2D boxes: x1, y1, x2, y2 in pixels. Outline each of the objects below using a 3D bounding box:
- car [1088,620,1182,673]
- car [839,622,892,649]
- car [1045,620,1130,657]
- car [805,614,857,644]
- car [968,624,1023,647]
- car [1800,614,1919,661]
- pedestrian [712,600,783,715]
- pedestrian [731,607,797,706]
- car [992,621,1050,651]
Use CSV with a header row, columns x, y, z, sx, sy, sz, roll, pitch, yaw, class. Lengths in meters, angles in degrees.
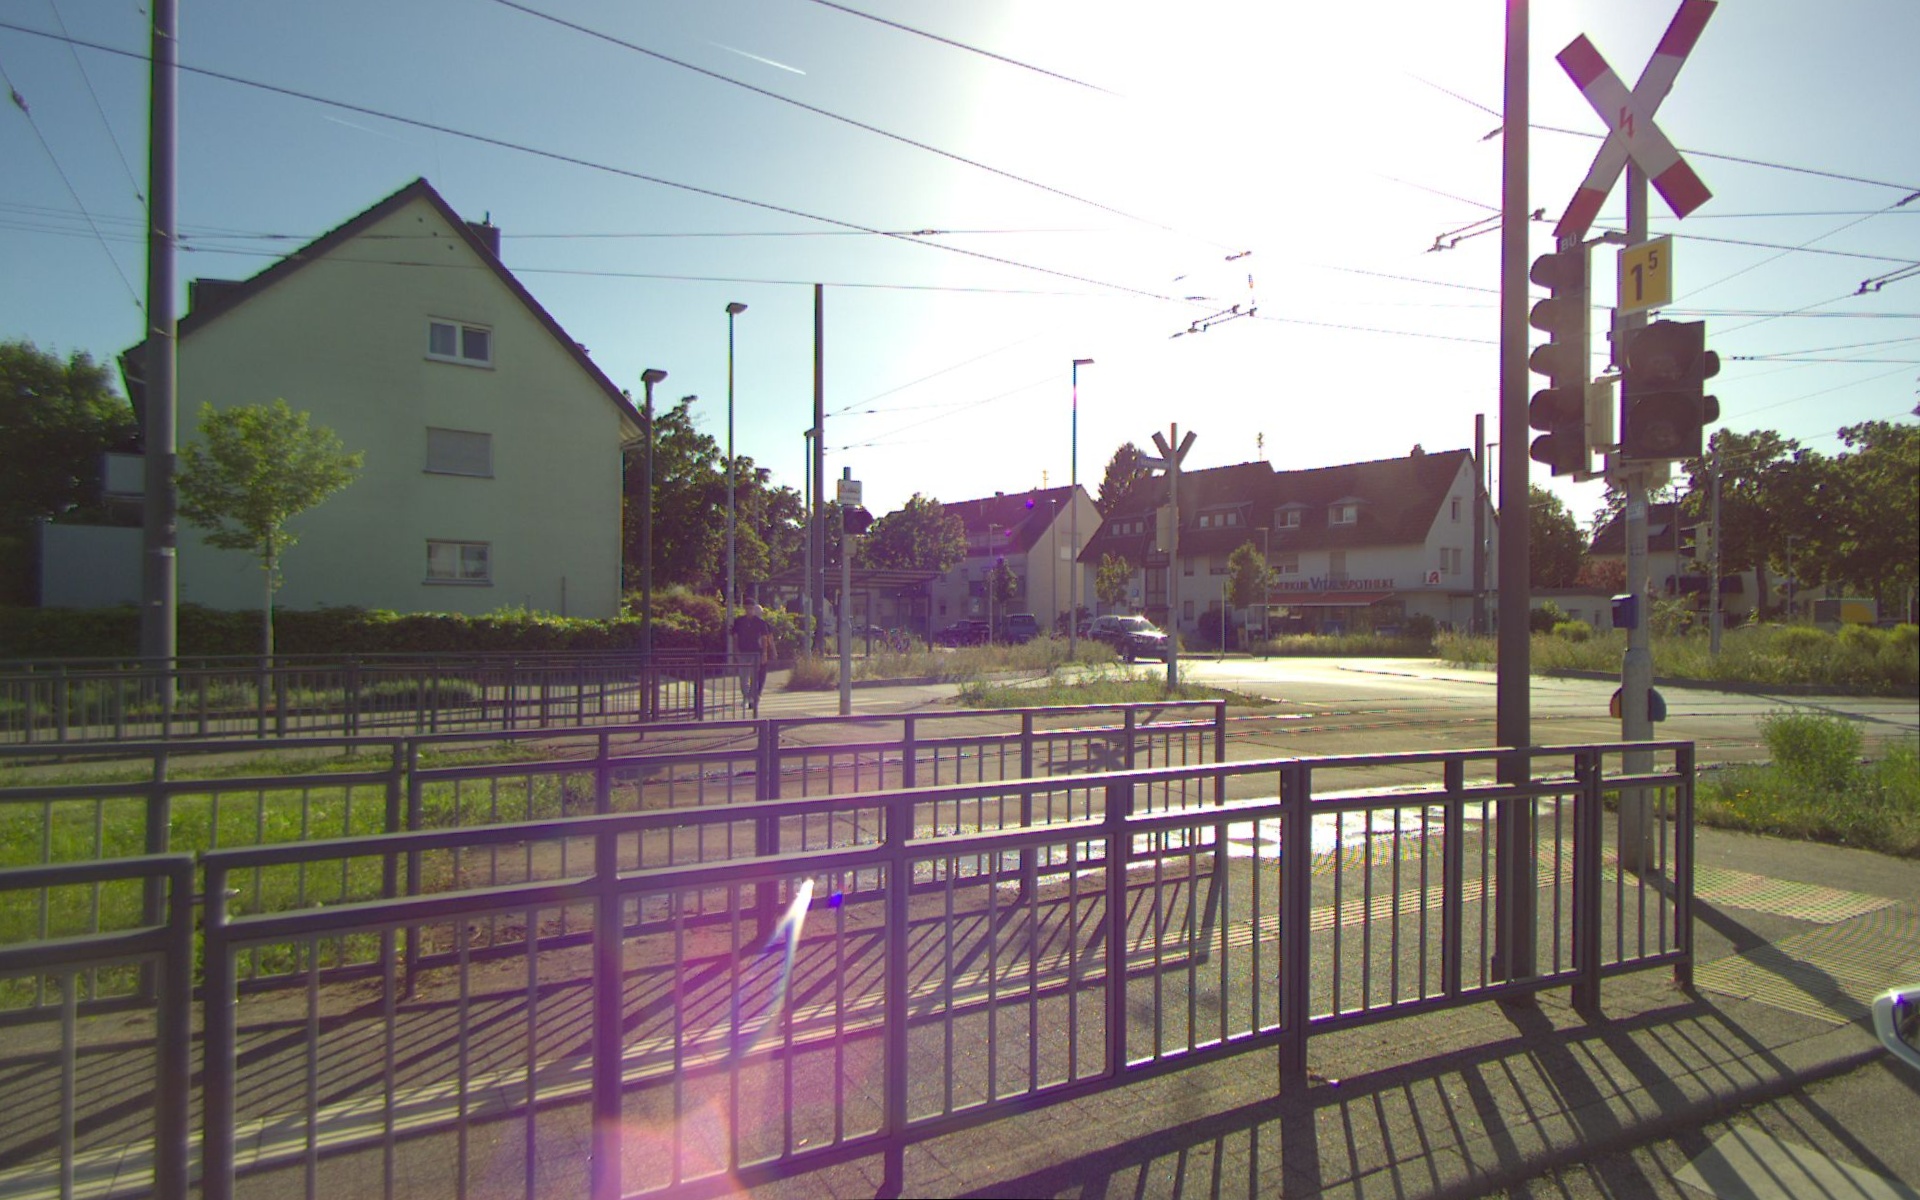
x,y,z,sx,sy,sz,roll,pitch,yaw,class
6.367,1.649,37.084,1.787,1.693,4.244,-1,1,-15,car
-6.660,2.468,70.300,1.905,1.637,4.243,1,0,-34,car
6.692,1.989,53.258,1.982,1.721,4.322,1,0,-38,car
-9.746,2.146,75.803,1.880,2.041,4.322,1,0,-39,car
2.174,2.155,61.545,3.109,1.315,1.380,1,0,-13,car
39.999,1.658,44.267,5.151,2.007,1.994,0,-2,-16,car
-3.493,0.932,16.524,0.678,1.794,0.824,3,-1,32,pedestrian
-3.501,0.998,17.959,0.783,1.683,0.726,3,-1,32,pedestrian
3.467,2.052,57.374,3.021,1.641,1.408,1,0,-9,car
